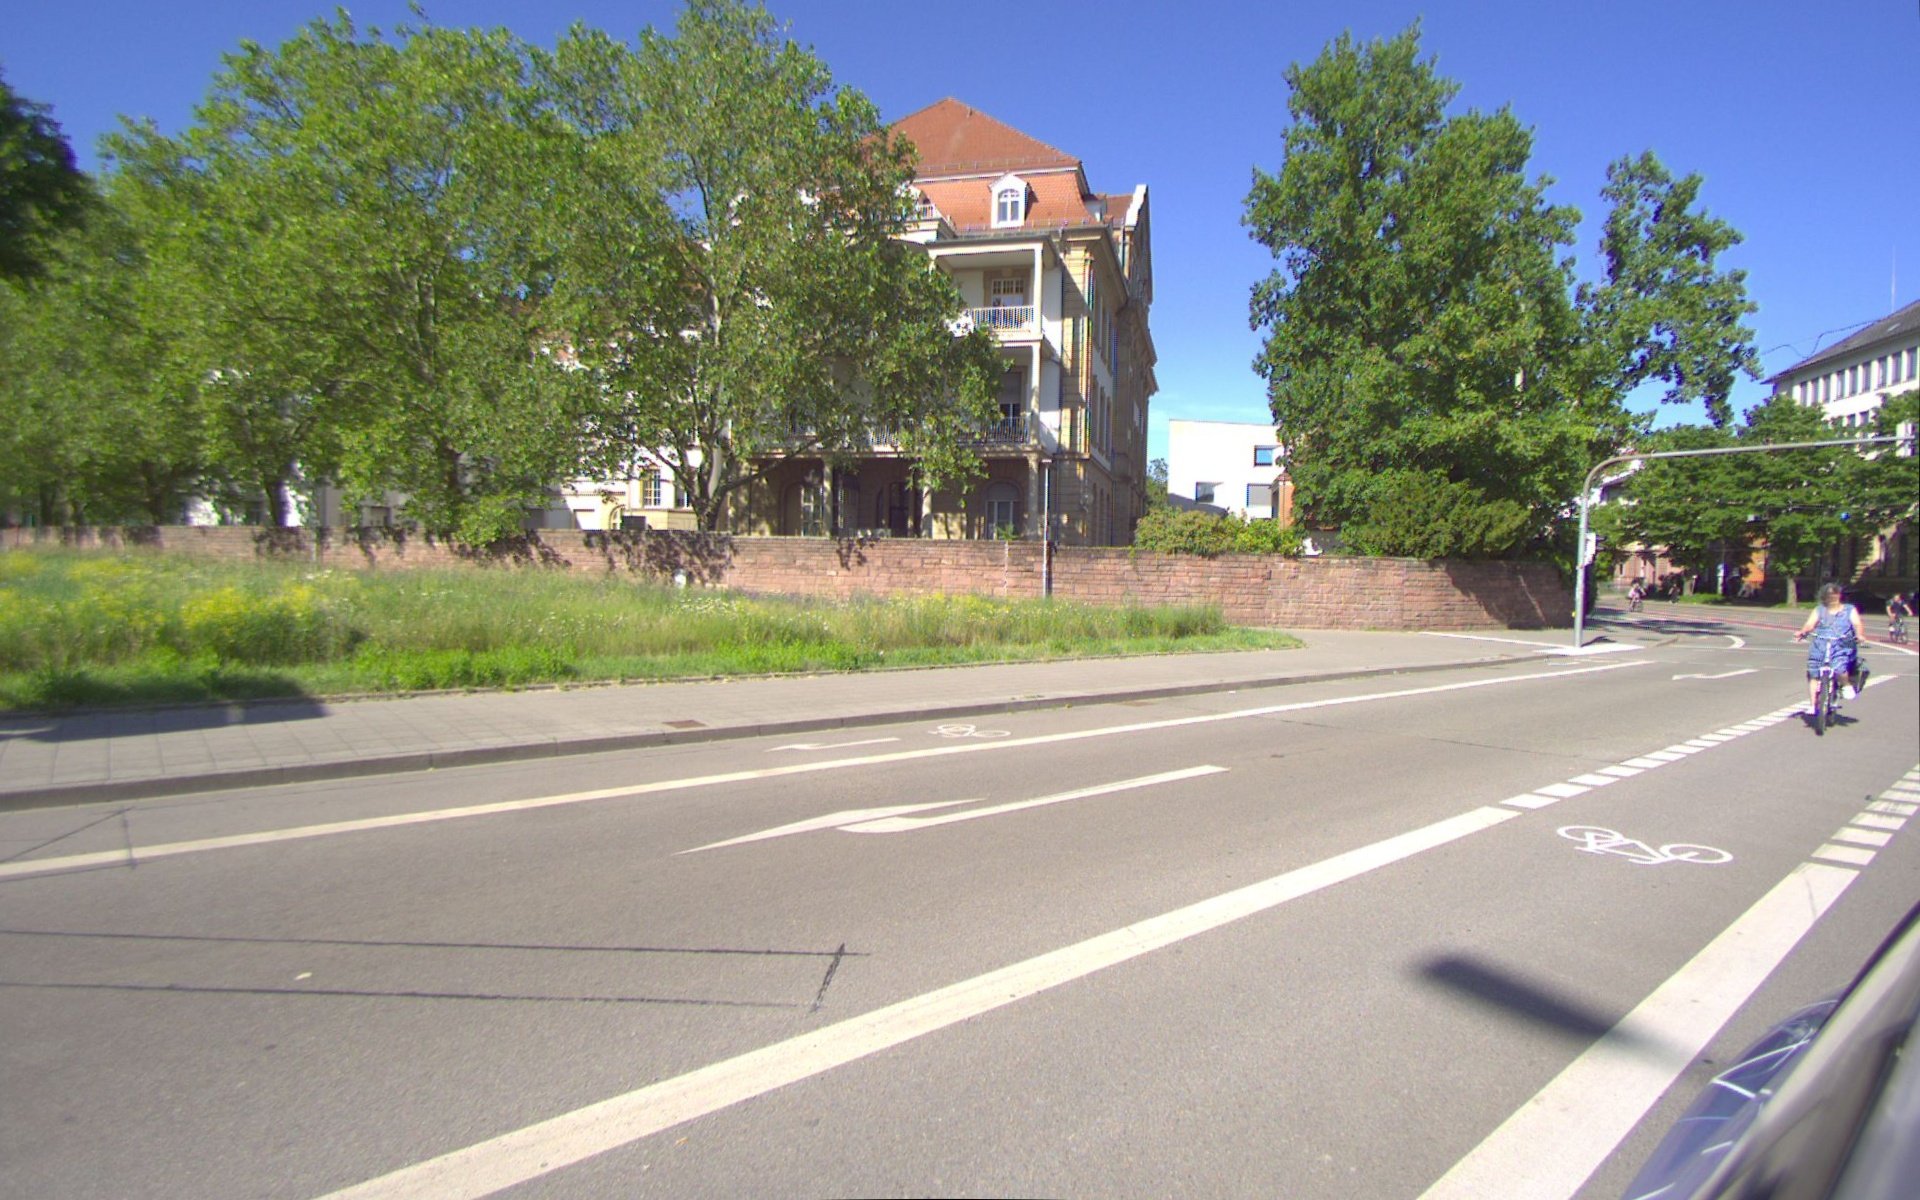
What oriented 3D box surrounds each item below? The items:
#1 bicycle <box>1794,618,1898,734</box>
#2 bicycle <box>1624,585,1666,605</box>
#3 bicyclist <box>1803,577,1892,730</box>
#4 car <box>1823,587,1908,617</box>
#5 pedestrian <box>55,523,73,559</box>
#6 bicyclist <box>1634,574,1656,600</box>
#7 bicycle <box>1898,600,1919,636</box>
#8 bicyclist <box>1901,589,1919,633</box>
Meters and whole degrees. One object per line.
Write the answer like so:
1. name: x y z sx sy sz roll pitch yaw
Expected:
1. bicycle: 10.251 0.824 11.687 1.933 1.179 0.642 0 1 -41
2. bicycle: 41.464 -0.318 61.243 0.765 1.179 1.966 0 1 -38
3. bicyclist: 10.215 0.580 11.647 0.763 1.683 0.642 -1 2 -41
4. car: 60.924 0.125 68.143 3.731 1.838 1.999 1 2 3
5. pedestrian: -42.170 -2.774 47.638 0.642 1.631 0.557 0 0 -42
6. bicyclist: 41.451 -0.789 61.251 0.765 1.571 0.919 0 1 -38
7. bicycle: 31.782 0.594 33.657 1.837 1.180 0.642 0 0 -41
8. bicyclist: 31.827 0.366 33.685 0.936 1.462 0.642 1 0 -41
